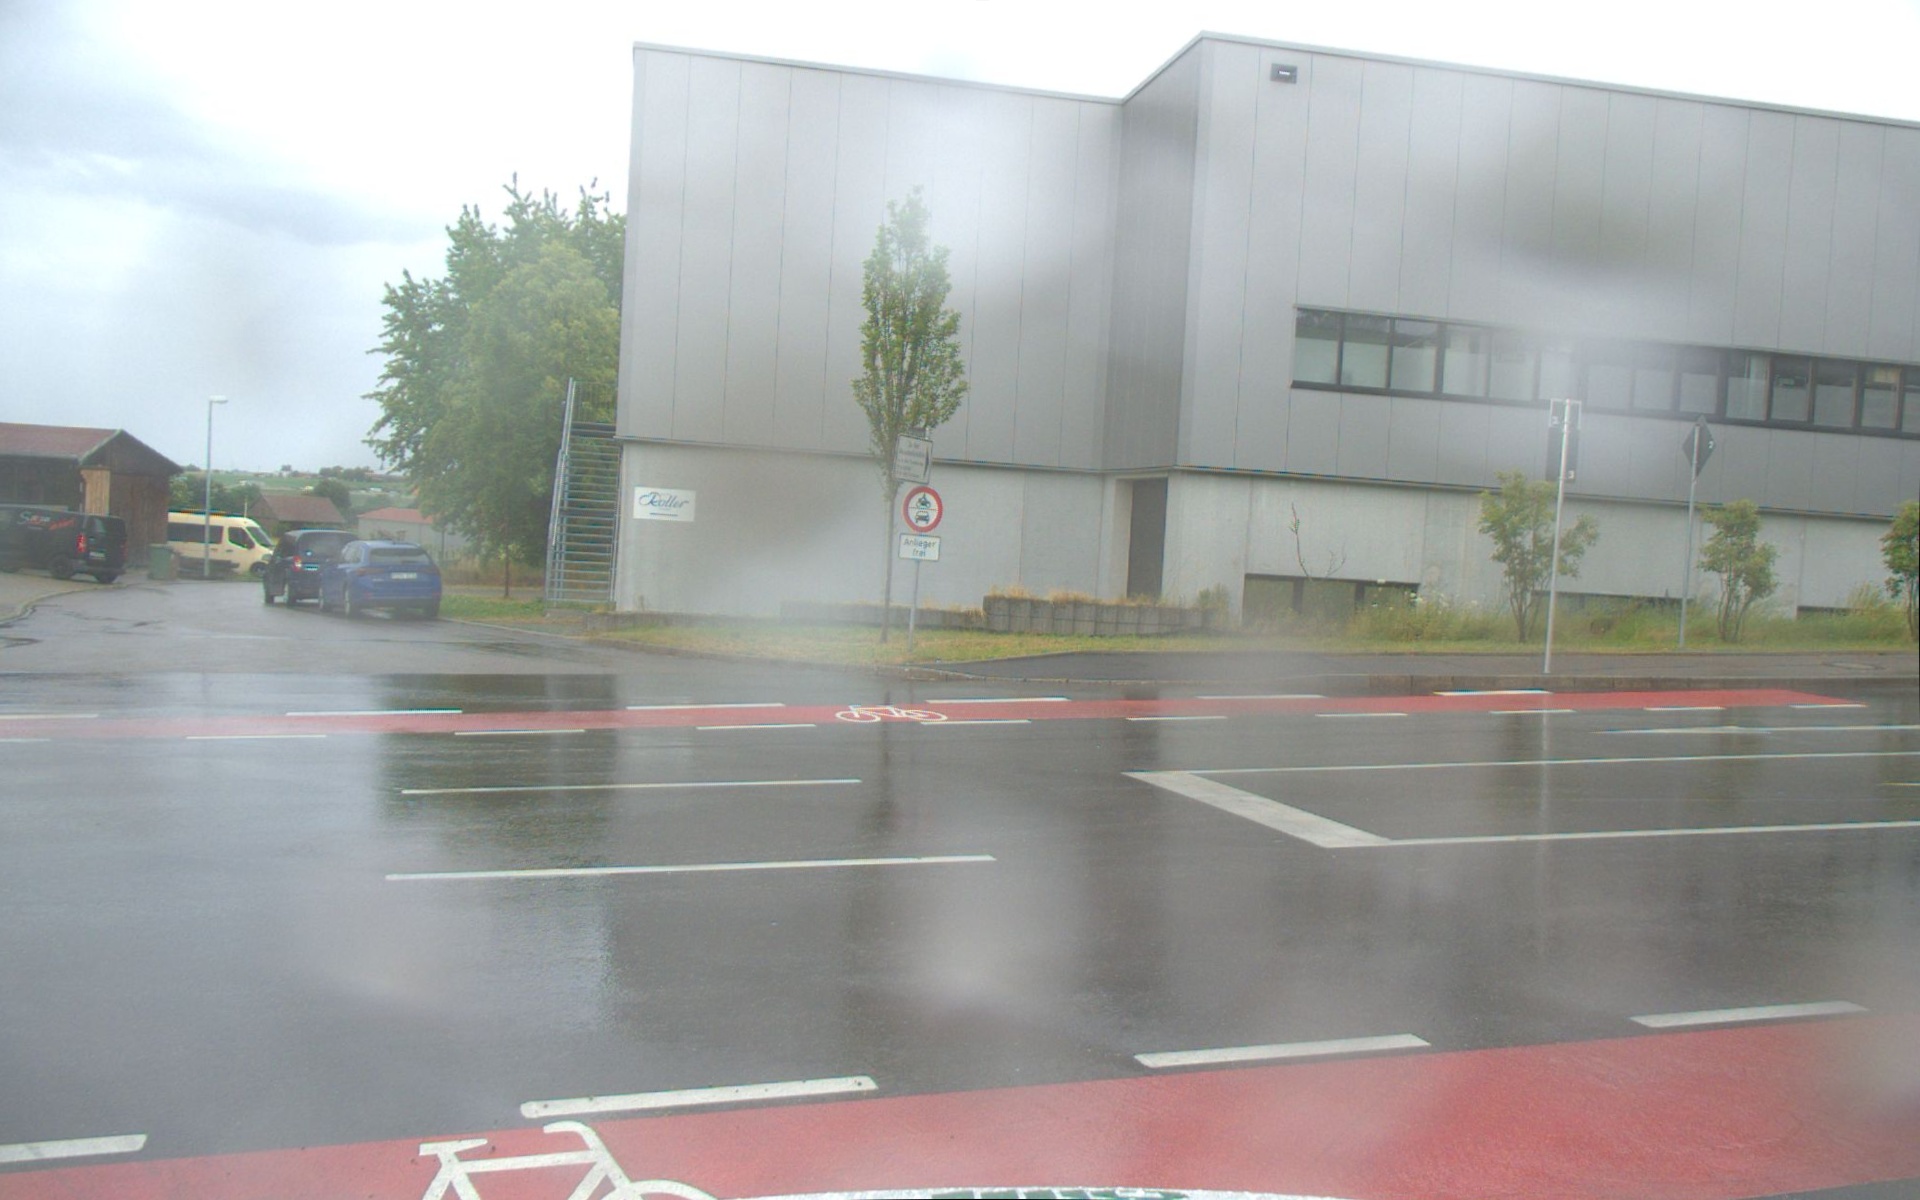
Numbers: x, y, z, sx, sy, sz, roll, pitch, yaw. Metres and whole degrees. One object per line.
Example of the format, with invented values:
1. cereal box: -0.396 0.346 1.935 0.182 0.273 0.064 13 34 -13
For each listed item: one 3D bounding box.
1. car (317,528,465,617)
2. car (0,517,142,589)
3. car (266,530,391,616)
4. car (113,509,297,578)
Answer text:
1. car: -11.522 -0.560 33.327 1.932 1.638 4.400 1 1 -31
2. car: -25.440 -1.316 46.328 4.303 1.938 2.001 2 1 17
3. car: -14.788 -0.634 38.601 2.052 1.867 4.426 1 1 -30
4. car: -29.015 -2.132 63.749 5.892 2.457 2.460 1 1 -6
